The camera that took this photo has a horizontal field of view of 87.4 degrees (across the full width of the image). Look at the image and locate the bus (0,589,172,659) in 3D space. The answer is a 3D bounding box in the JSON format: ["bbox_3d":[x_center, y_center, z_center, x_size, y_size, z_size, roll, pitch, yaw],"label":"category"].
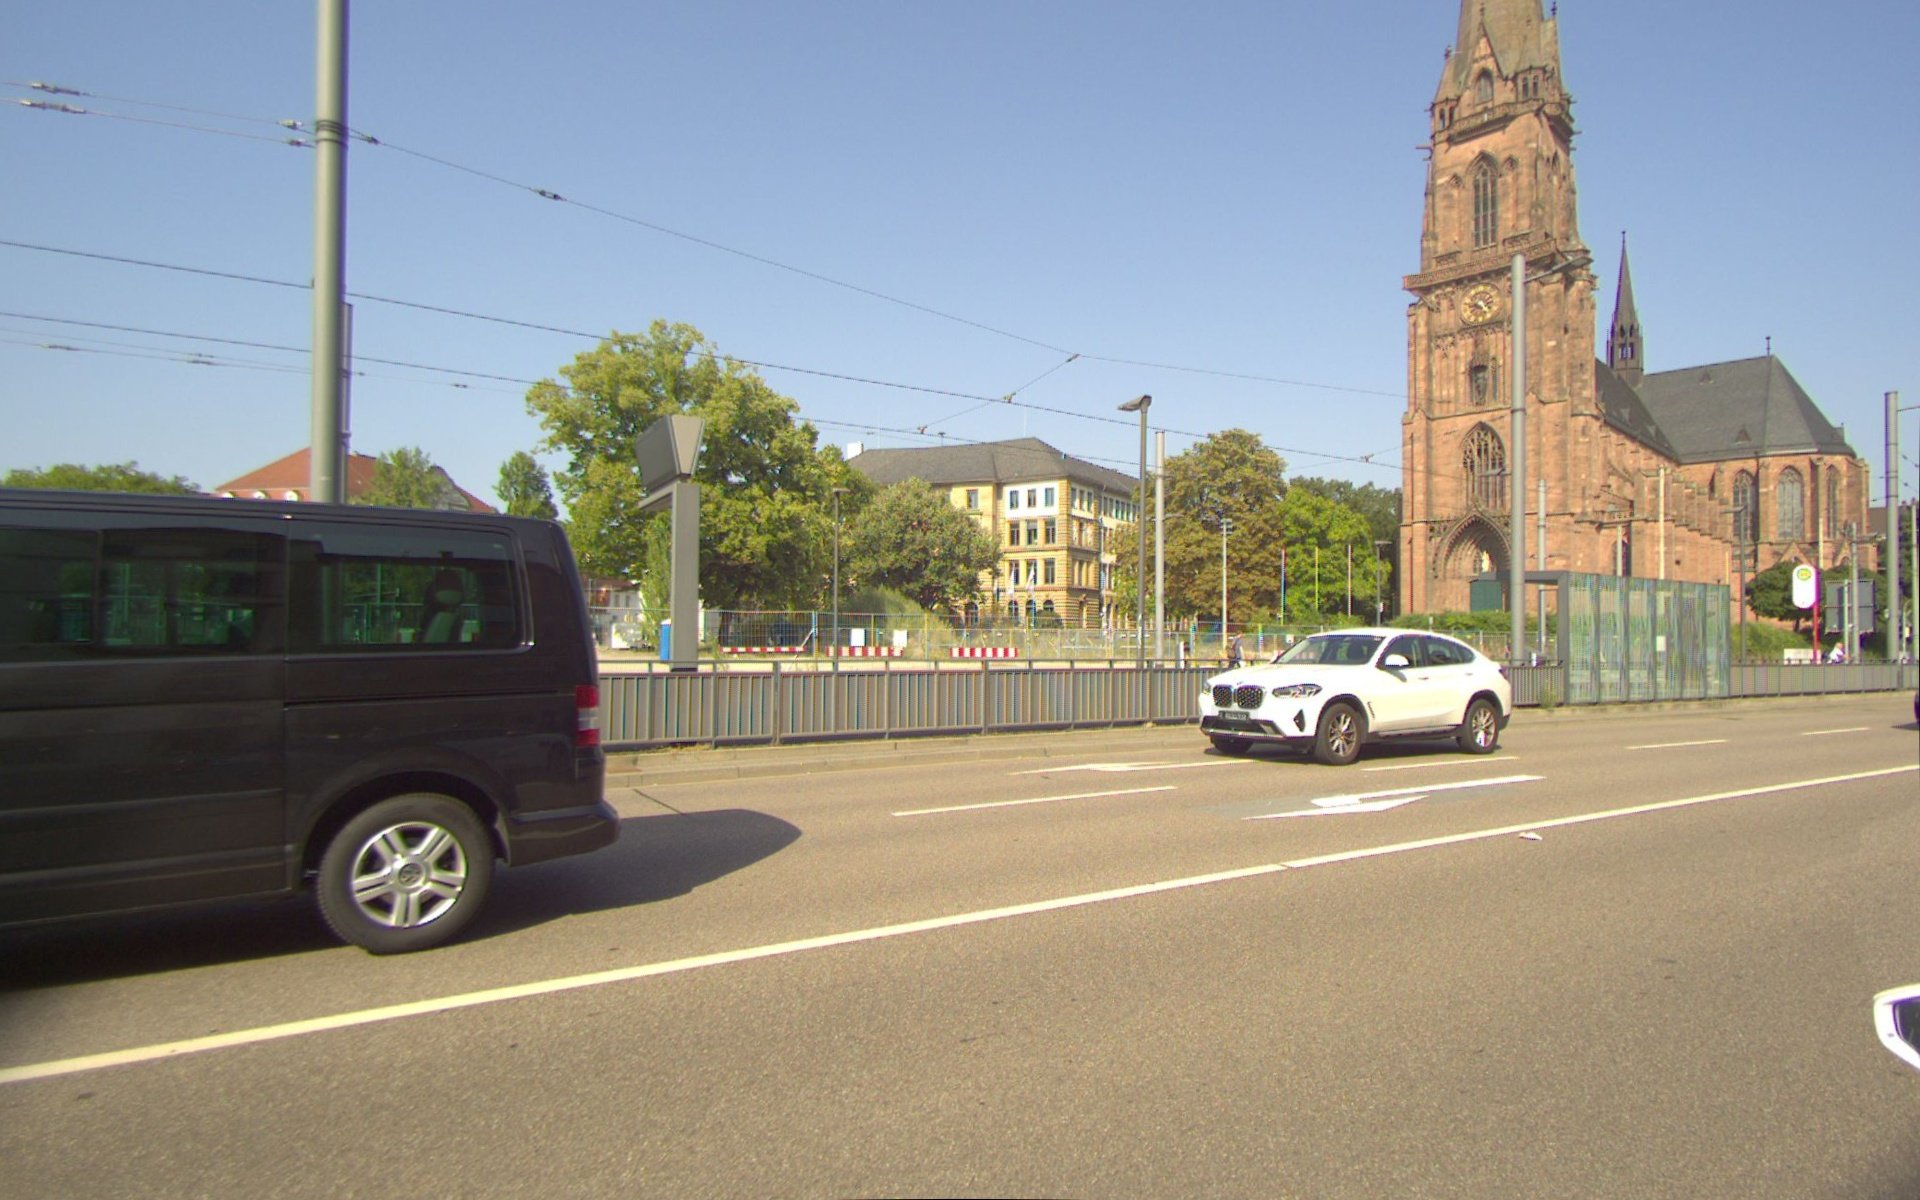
[{"bbox_3d":[-45.340,1.178,47.949,3.159,3.220,13.328,0,-2,11],"label":"bus"}]

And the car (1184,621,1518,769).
[{"bbox_3d":[5.137,1.154,13.030,4.454,1.632,1.704,2,-4,-32],"label":"car"}]

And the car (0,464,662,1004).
[{"bbox_3d":[-3.934,0.523,4.459,4.663,1.929,1.984,2,-4,-32],"label":"car"}]

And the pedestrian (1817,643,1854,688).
[{"bbox_3d":[33.797,2.502,38.786,0.596,1.701,0.912,2,-2,-32],"label":"pedestrian"}]

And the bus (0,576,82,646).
[{"bbox_3d":[-49.669,0.420,47.202,3.160,3.463,13.327,0,-2,13],"label":"bus"}]

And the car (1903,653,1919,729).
[{"bbox_3d":[19.219,1.647,18.408,4.470,1.348,1.704,2,-4,-32],"label":"car"}]

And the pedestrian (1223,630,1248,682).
[{"bbox_3d":[9.275,1.884,33.788,0.657,1.723,0.514,1,-2,-32],"label":"pedestrian"}]

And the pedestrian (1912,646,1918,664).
[{"bbox_3d":[84.320,4.843,88.684,0.337,1.538,0.302,2,-2,-35],"label":"pedestrian"}]
